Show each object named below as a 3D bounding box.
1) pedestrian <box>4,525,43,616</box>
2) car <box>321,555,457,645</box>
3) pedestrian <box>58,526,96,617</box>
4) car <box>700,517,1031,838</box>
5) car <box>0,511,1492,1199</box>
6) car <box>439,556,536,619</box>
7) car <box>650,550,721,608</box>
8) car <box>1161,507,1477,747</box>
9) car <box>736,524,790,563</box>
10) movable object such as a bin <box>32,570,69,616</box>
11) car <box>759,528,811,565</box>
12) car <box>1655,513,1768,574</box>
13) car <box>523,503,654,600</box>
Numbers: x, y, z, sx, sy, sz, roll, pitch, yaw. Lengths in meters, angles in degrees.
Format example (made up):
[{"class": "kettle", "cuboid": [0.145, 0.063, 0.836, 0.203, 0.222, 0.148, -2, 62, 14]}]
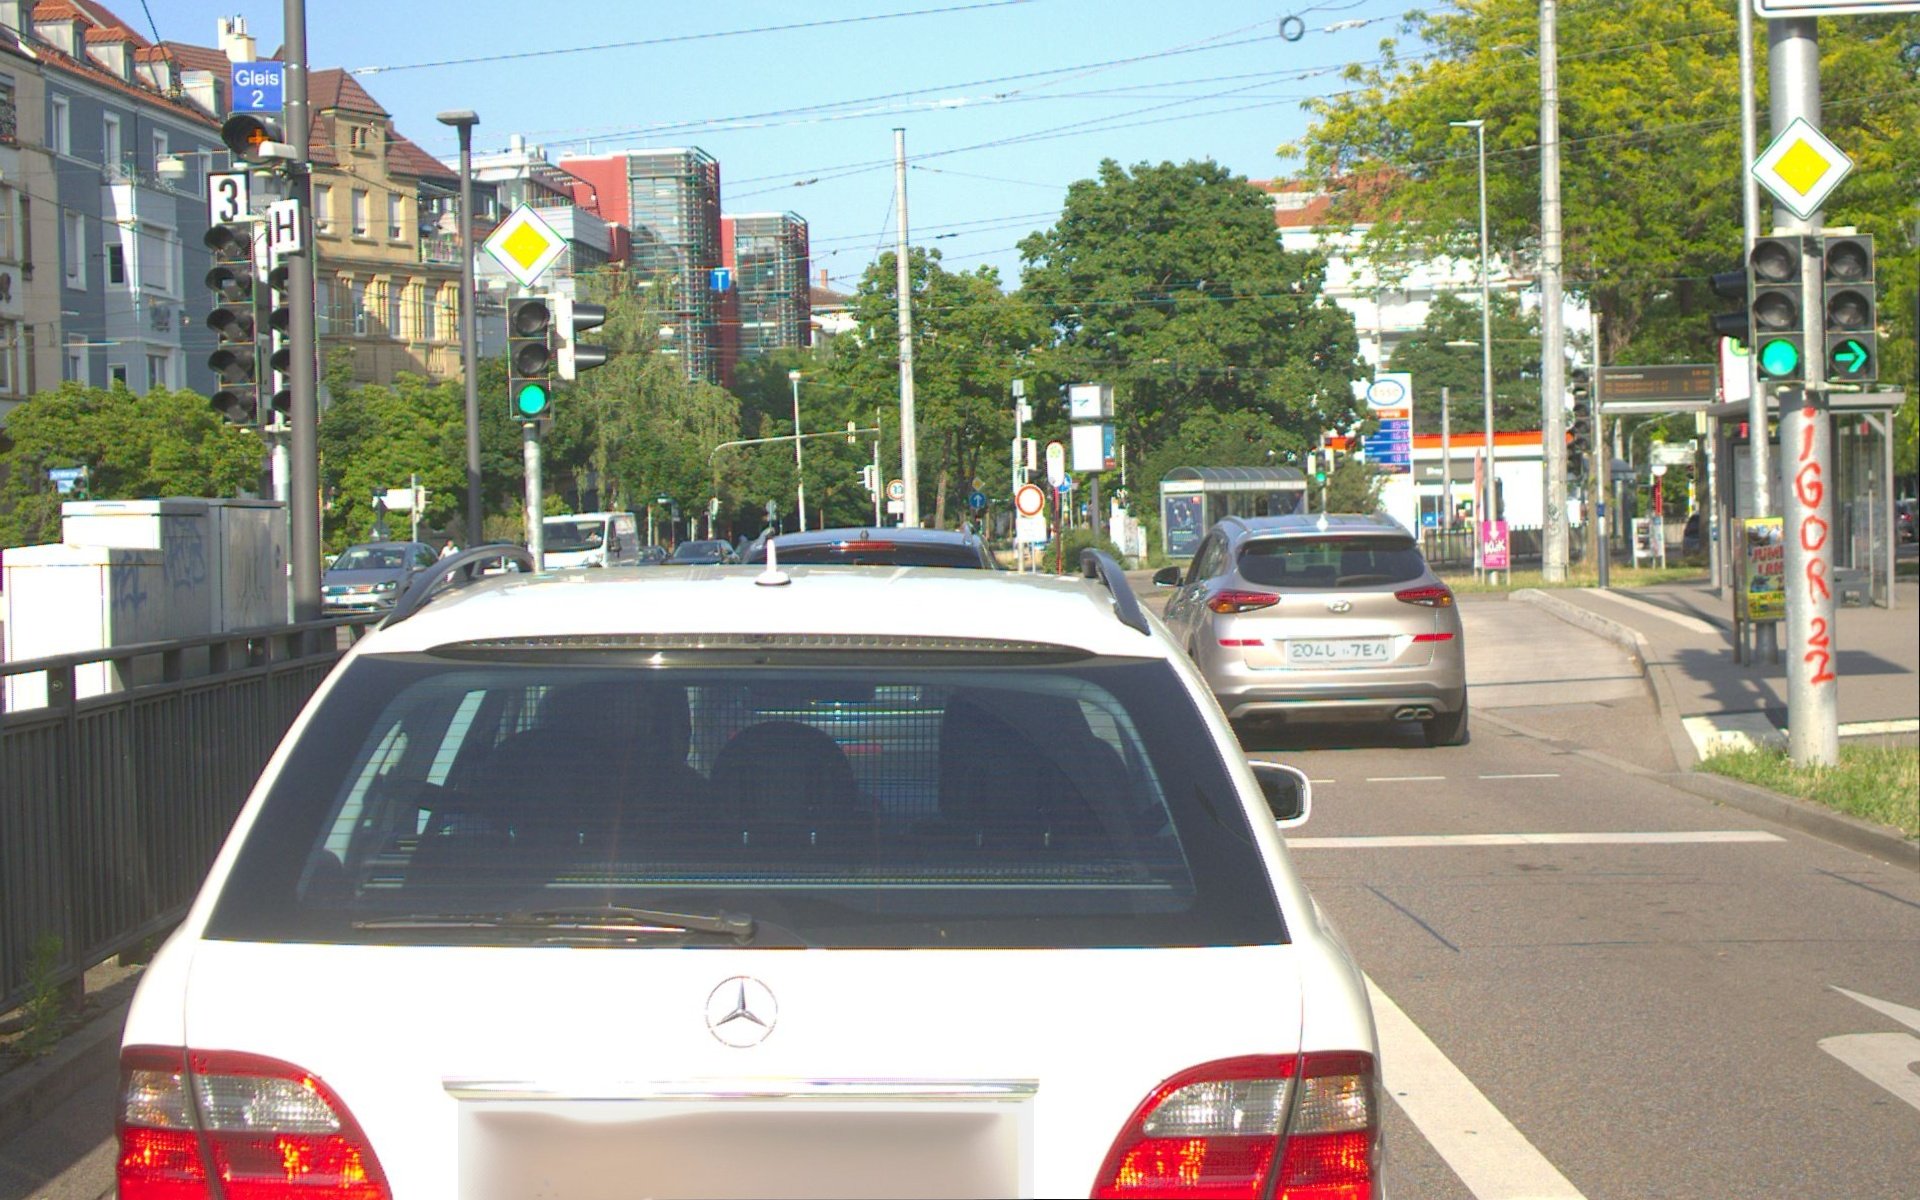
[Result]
[{"class": "pedestrian", "cuboid": [-19.442, -0.621, 71.377, 0.584, 1.874, 0.627, -2, 1, -1]}, {"class": "car", "cuboid": [-10.977, -0.019, 66.375, 1.677, 1.520, 4.124, -2, 2, 3]}, {"class": "pedestrian", "cuboid": [-18.386, -0.590, 71.610, 0.584, 1.874, 0.627, -2, 1, -3]}, {"class": "car", "cuboid": [-0.492, 0.347, 18.979, 1.641, 1.594, 3.815, 0, 1, -1]}, {"class": "car", "cuboid": [-0.323, 0.607, 5.893, 1.835, 1.496, 3.815, 0, 1, -1]}, {"class": "car", "cuboid": [-11.836, -0.332, 86.324, 1.794, 1.452, 4.000, -2, 1, 1]}, {"class": "car", "cuboid": [-8.183, -0.633, 102.673, 1.767, 1.489, 4.745, -2, 3, -1]}, {"class": "car", "cuboid": [2.496, 0.143, 24.761, 1.835, 1.594, 3.815, 0, 1, -1]}, {"class": "car", "cuboid": [-7.579, -2.193, 132.305, 1.634, 1.428, 3.628, -2, 1, 3]}, {"class": "movable object such as a bin", "cuboid": [-19.111, -0.147, 72.254, 0.583, 0.943, 0.663, -2, 1, 0]}, {"class": "car", "cuboid": [-7.343, -2.246, 144.530, 1.689, 1.436, 4.000, -2, 2, 3]}, {"class": "car", "cuboid": [20.649, -1.559, 94.363, 1.856, 1.510, 3.994, -2, 1, 30]}, {"class": "car", "cuboid": [-9.003, -1.227, 83.768, 2.177, 2.231, 5.253, -1, 2, 4]}]
